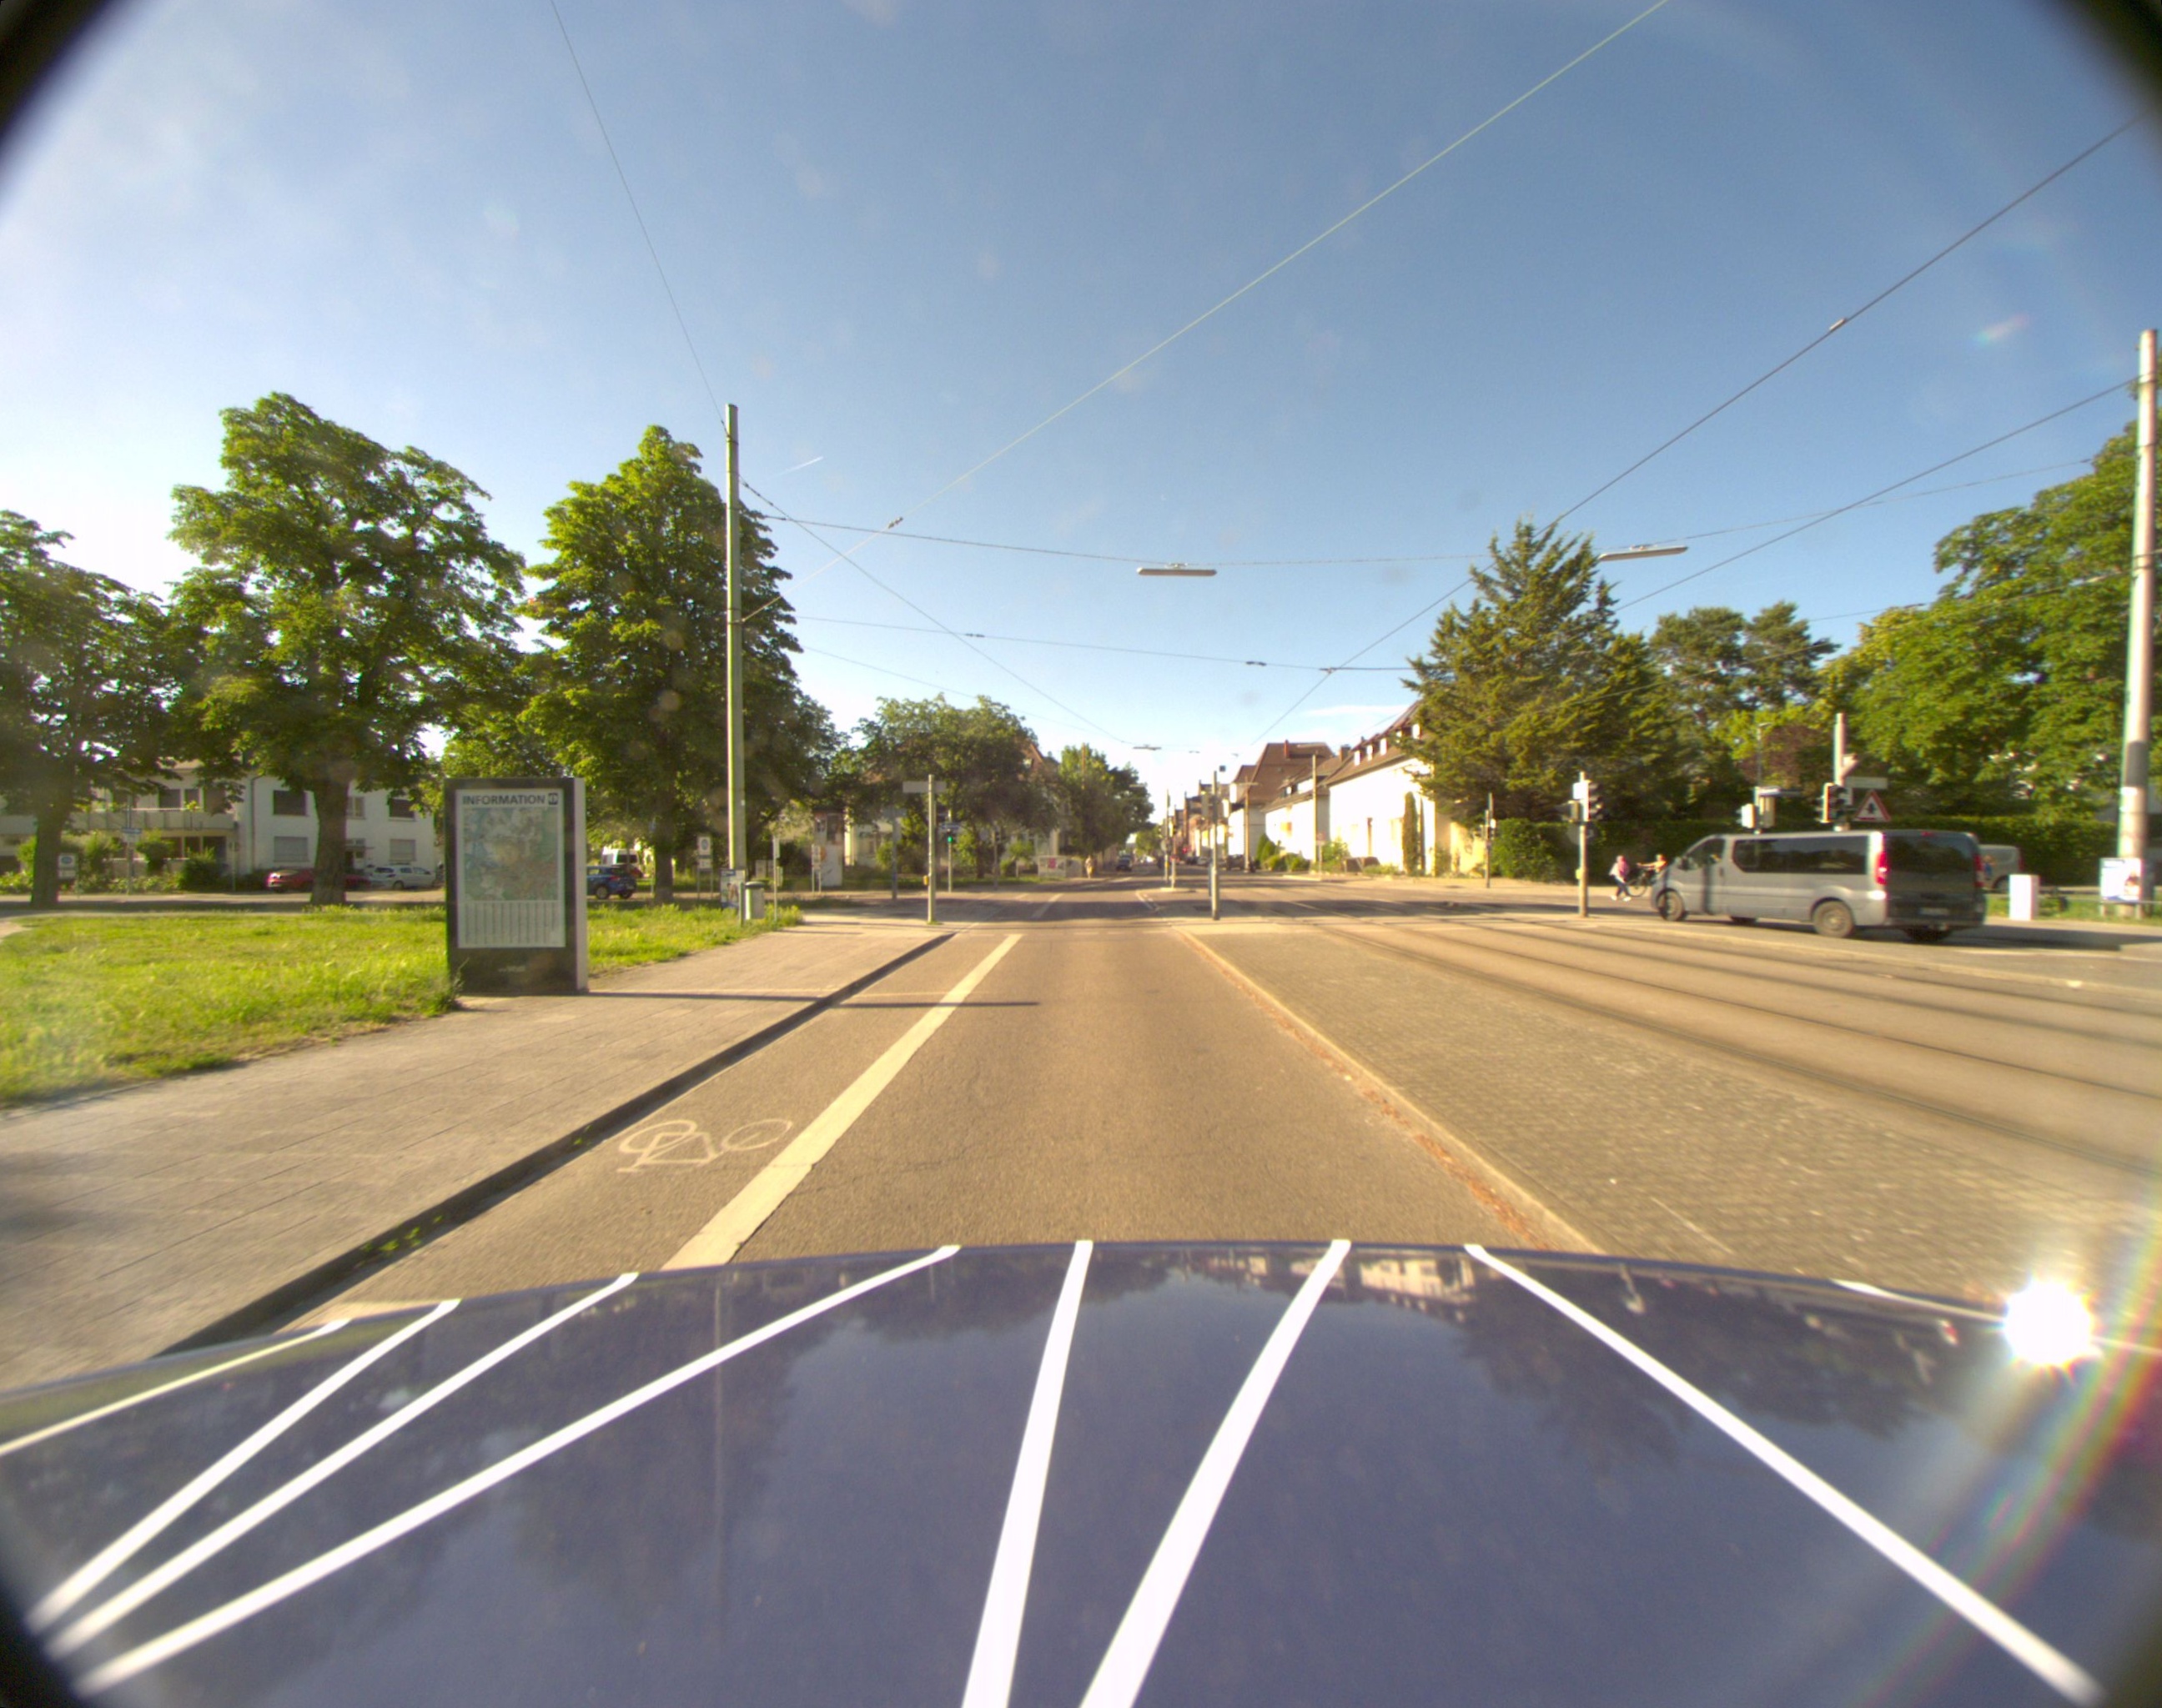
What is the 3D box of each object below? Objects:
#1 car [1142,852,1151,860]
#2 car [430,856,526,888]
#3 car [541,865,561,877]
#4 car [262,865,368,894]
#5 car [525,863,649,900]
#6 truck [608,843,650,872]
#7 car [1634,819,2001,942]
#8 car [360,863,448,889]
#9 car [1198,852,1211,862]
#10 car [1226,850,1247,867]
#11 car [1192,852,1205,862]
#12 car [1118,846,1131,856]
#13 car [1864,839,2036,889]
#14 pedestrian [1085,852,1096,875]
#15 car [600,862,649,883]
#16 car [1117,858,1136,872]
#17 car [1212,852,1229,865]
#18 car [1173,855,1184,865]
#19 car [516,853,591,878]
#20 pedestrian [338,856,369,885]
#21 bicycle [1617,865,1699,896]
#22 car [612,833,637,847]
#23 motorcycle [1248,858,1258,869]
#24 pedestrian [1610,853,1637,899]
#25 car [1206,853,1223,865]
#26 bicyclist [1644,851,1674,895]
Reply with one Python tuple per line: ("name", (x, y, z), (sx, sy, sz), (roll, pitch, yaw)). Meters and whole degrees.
("car", (14.811, 0.554, 172.310), (1.923, 1.704, 4.002), (-2, 0, 6))
("car", (-35.654, 1.014, 45.096), (1.920, 1.825, 4.345), (0, 0, 8))
("car", (-68.347, 2.176, 97.930), (1.763, 1.462, 3.886), (0, 0, -40))
("car", (-42.492, 1.379, 42.283), (1.757, 1.462, 3.898), (0, 0, 6))
("car", (-20.740, 1.127, 32.011), (3.996, 1.425, 1.816), (0, 1, 2))
("truck", (-40.538, 0.322, 68.120), (4.966, 2.561, 2.004), (0, 0, 44))
("car", (14.045, 0.491, 15.120), (2.025, 2.001, 5.249), (1, -1, -3))
("car", (-42.092, 1.342, 47.356), (1.757, 1.462, 3.898), (0, 0, 6))
("car", (20.394, 0.556, 125.343), (1.923, 1.555, 4.002), (-2, 0, 8))
("car", (18.327, 0.581, 89.701), (1.923, 1.889, 4.002), (-2, 0, 6))
("car", (21.664, 0.621, 140.094), (1.923, 1.704, 4.002), (-3, 0, 5))
("car", (7.514, -0.492, 130.443), (1.704, 1.541, 4.003), (-2, 0, 9))
("car", (33.532, 0.394, 29.421), (4.310, 1.856, 1.817), (0, 0, 6))
("pedestrian", (0.691, 0.720, 55.911), (0.654, 1.664, 0.944), (1, 0, 6))
("car", (-34.260, 1.416, 57.173), (1.607, 1.525, 4.280), (0, -1, -8))
("car", (5.253, 1.251, 87.660), (1.704, 1.541, 4.003), (-2, 0, 9))
("car", (19.121, 0.567, 104.271), (1.923, 1.704, 4.002), (-2, 0, 5))
("car", (17.887, 1.084, 139.171), (1.923, 1.704, 4.002), (-2, 0, 8))
("car", (-35.020, 0.749, 50.545), (1.920, 1.638, 3.717), (0, 0, 13))
("pedestrian", (-45.289, 1.017, 47.281), (1.024, 1.758, 0.901), (-2, 0, 10))
("bicycle", (21.622, 0.979, 28.515), (2.283, 1.111, 0.931), (0, 0, 11))
("car", (-52.609, -1.607, 87.552), (1.763, 1.462, 3.885), (0, 0, -40))
("motorcycle", (16.867, 0.959, 74.590), (0.605, 1.040, 2.438), (-2, 0, 6))
("pedestrian", (18.921, 0.767, 26.507), (0.680, 1.547, 0.622), (-2, 0, -45))
("car", (19.327, 0.715, 110.293), (1.923, 1.704, 4.001), (-2, 0, 4))
("bicyclist", (21.666, 0.689, 28.474), (0.559, 1.613, 0.899), (0, 0, 12))
